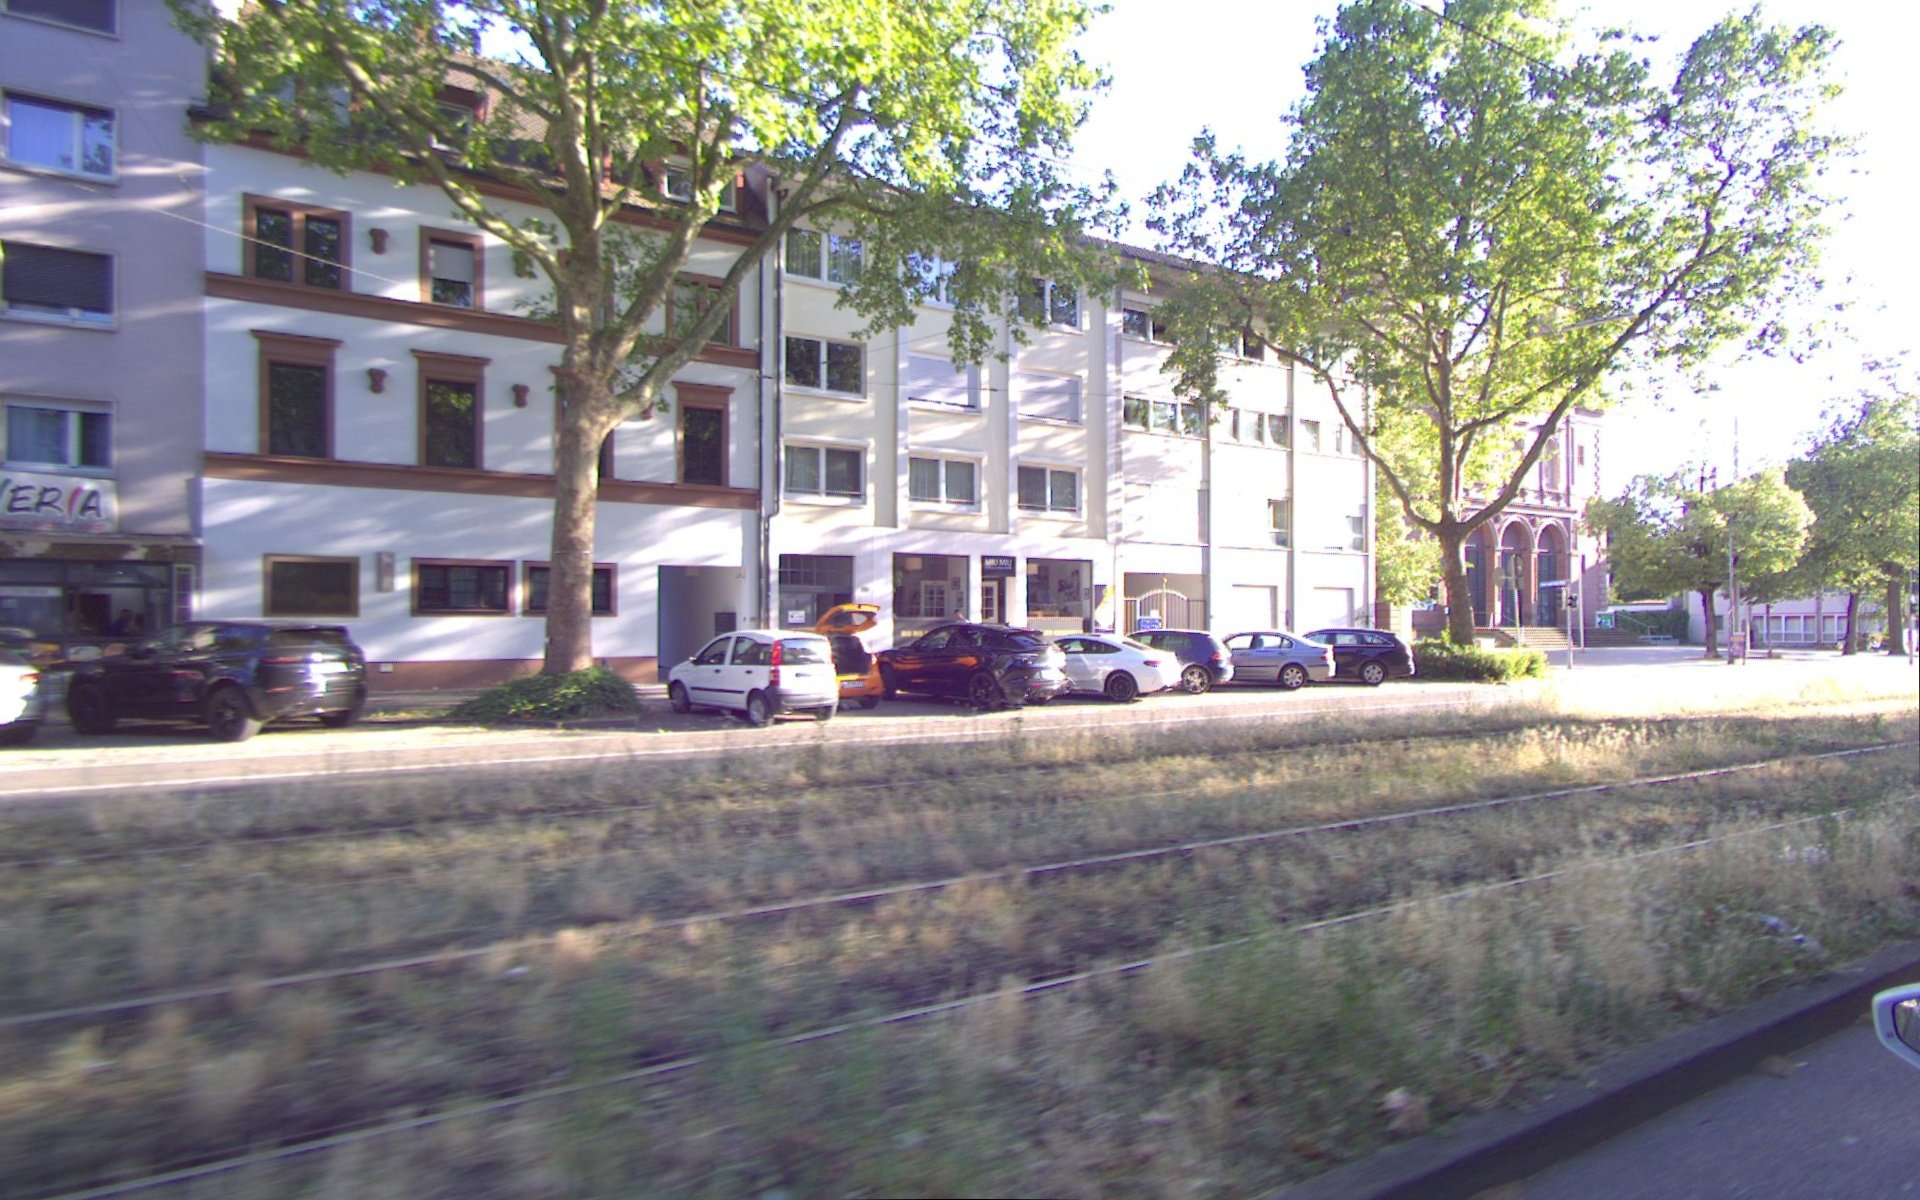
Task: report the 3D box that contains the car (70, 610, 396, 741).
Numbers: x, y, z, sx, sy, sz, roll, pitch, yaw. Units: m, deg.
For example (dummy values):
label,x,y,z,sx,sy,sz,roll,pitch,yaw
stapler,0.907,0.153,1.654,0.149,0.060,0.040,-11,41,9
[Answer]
label,x,y,z,sx,sy,sz,roll,pitch,yaw
car,-10.570,0.994,14.670,3.921,1.683,2.000,0,0,20

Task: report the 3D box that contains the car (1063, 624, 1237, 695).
label,x,y,z,sx,sy,sz,roll,pitch,yaw
car,4.616,1.384,24.336,3.920,1.460,1.802,1,0,18

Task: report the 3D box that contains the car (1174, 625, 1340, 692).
label,x,y,z,sx,sy,sz,roll,pitch,yaw
car,7.619,1.447,25.768,3.921,1.460,1.722,1,0,20

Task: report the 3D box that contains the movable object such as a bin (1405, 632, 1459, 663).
label,x,y,z,sx,sy,sz,roll,pitch,yaw
movable object such as a bin,22.167,2.219,47.128,2.416,1.228,1.102,-3,3,-29

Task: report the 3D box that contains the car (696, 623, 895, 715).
label,x,y,z,sx,sy,sz,roll,pitch,yaw
car,-3.315,1.269,19.862,3.940,1.499,1.769,1,0,41

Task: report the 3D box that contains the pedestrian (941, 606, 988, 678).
label,x,y,z,sx,sy,sz,roll,pitch,yaw
pedestrian,0.115,1.120,27.242,0.941,1.925,0.894,1,-1,-33

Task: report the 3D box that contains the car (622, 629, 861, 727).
label,x,y,z,sx,sy,sz,roll,pitch,yaw
car,-3.933,1.290,17.817,4.291,1.468,1.654,0,-1,34

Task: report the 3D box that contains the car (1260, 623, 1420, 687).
label,x,y,z,sx,sy,sz,roll,pitch,yaw
car,10.252,1.454,27.369,3.920,1.499,1.818,1,0,18

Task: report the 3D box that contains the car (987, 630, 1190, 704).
label,x,y,z,sx,sy,sz,roll,pitch,yaw
car,2.850,1.426,22.353,4.125,1.351,1.721,1,0,25

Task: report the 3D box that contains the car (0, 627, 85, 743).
label,x,y,z,sx,sy,sz,roll,pitch,yaw
car,-13.858,1.066,13.068,3.919,1.404,1.913,1,0,16

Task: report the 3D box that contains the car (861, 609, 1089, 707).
label,x,y,z,sx,sy,sz,roll,pitch,yaw
car,0.254,1.214,20.576,4.292,1.809,1.988,-3,-4,35
